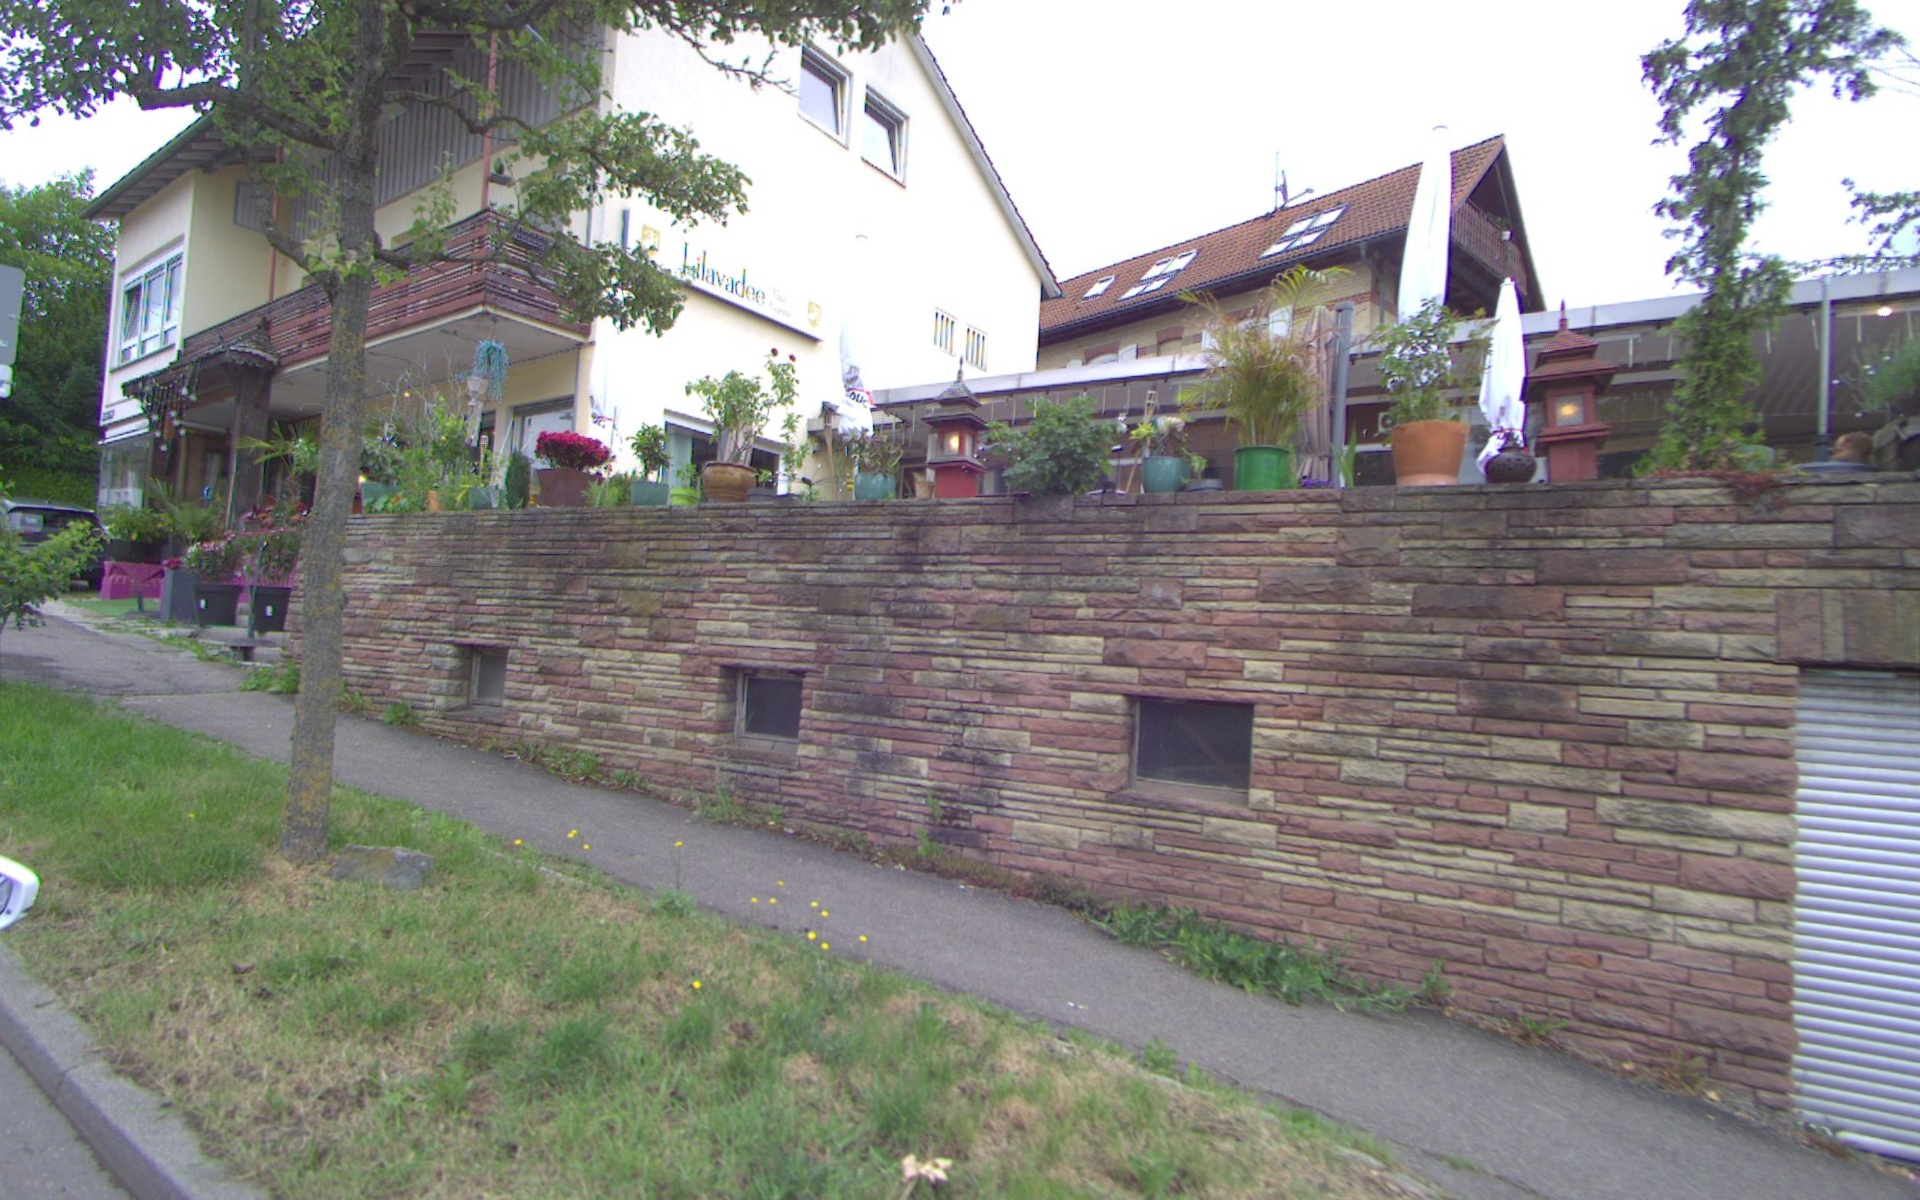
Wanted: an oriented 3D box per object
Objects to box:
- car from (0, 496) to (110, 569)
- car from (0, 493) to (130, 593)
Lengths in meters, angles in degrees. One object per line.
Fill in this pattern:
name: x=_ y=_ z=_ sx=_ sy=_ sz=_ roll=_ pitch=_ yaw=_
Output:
car: x=-25.523 y=-1.901 z=26.813 sx=4.220 sy=1.611 sz=1.969 roll=7 pitch=-4 yaw=-39
car: x=-16.491 y=-1.086 z=17.555 sx=4.314 sy=1.491 sz=1.848 roll=6 pitch=1 yaw=33
